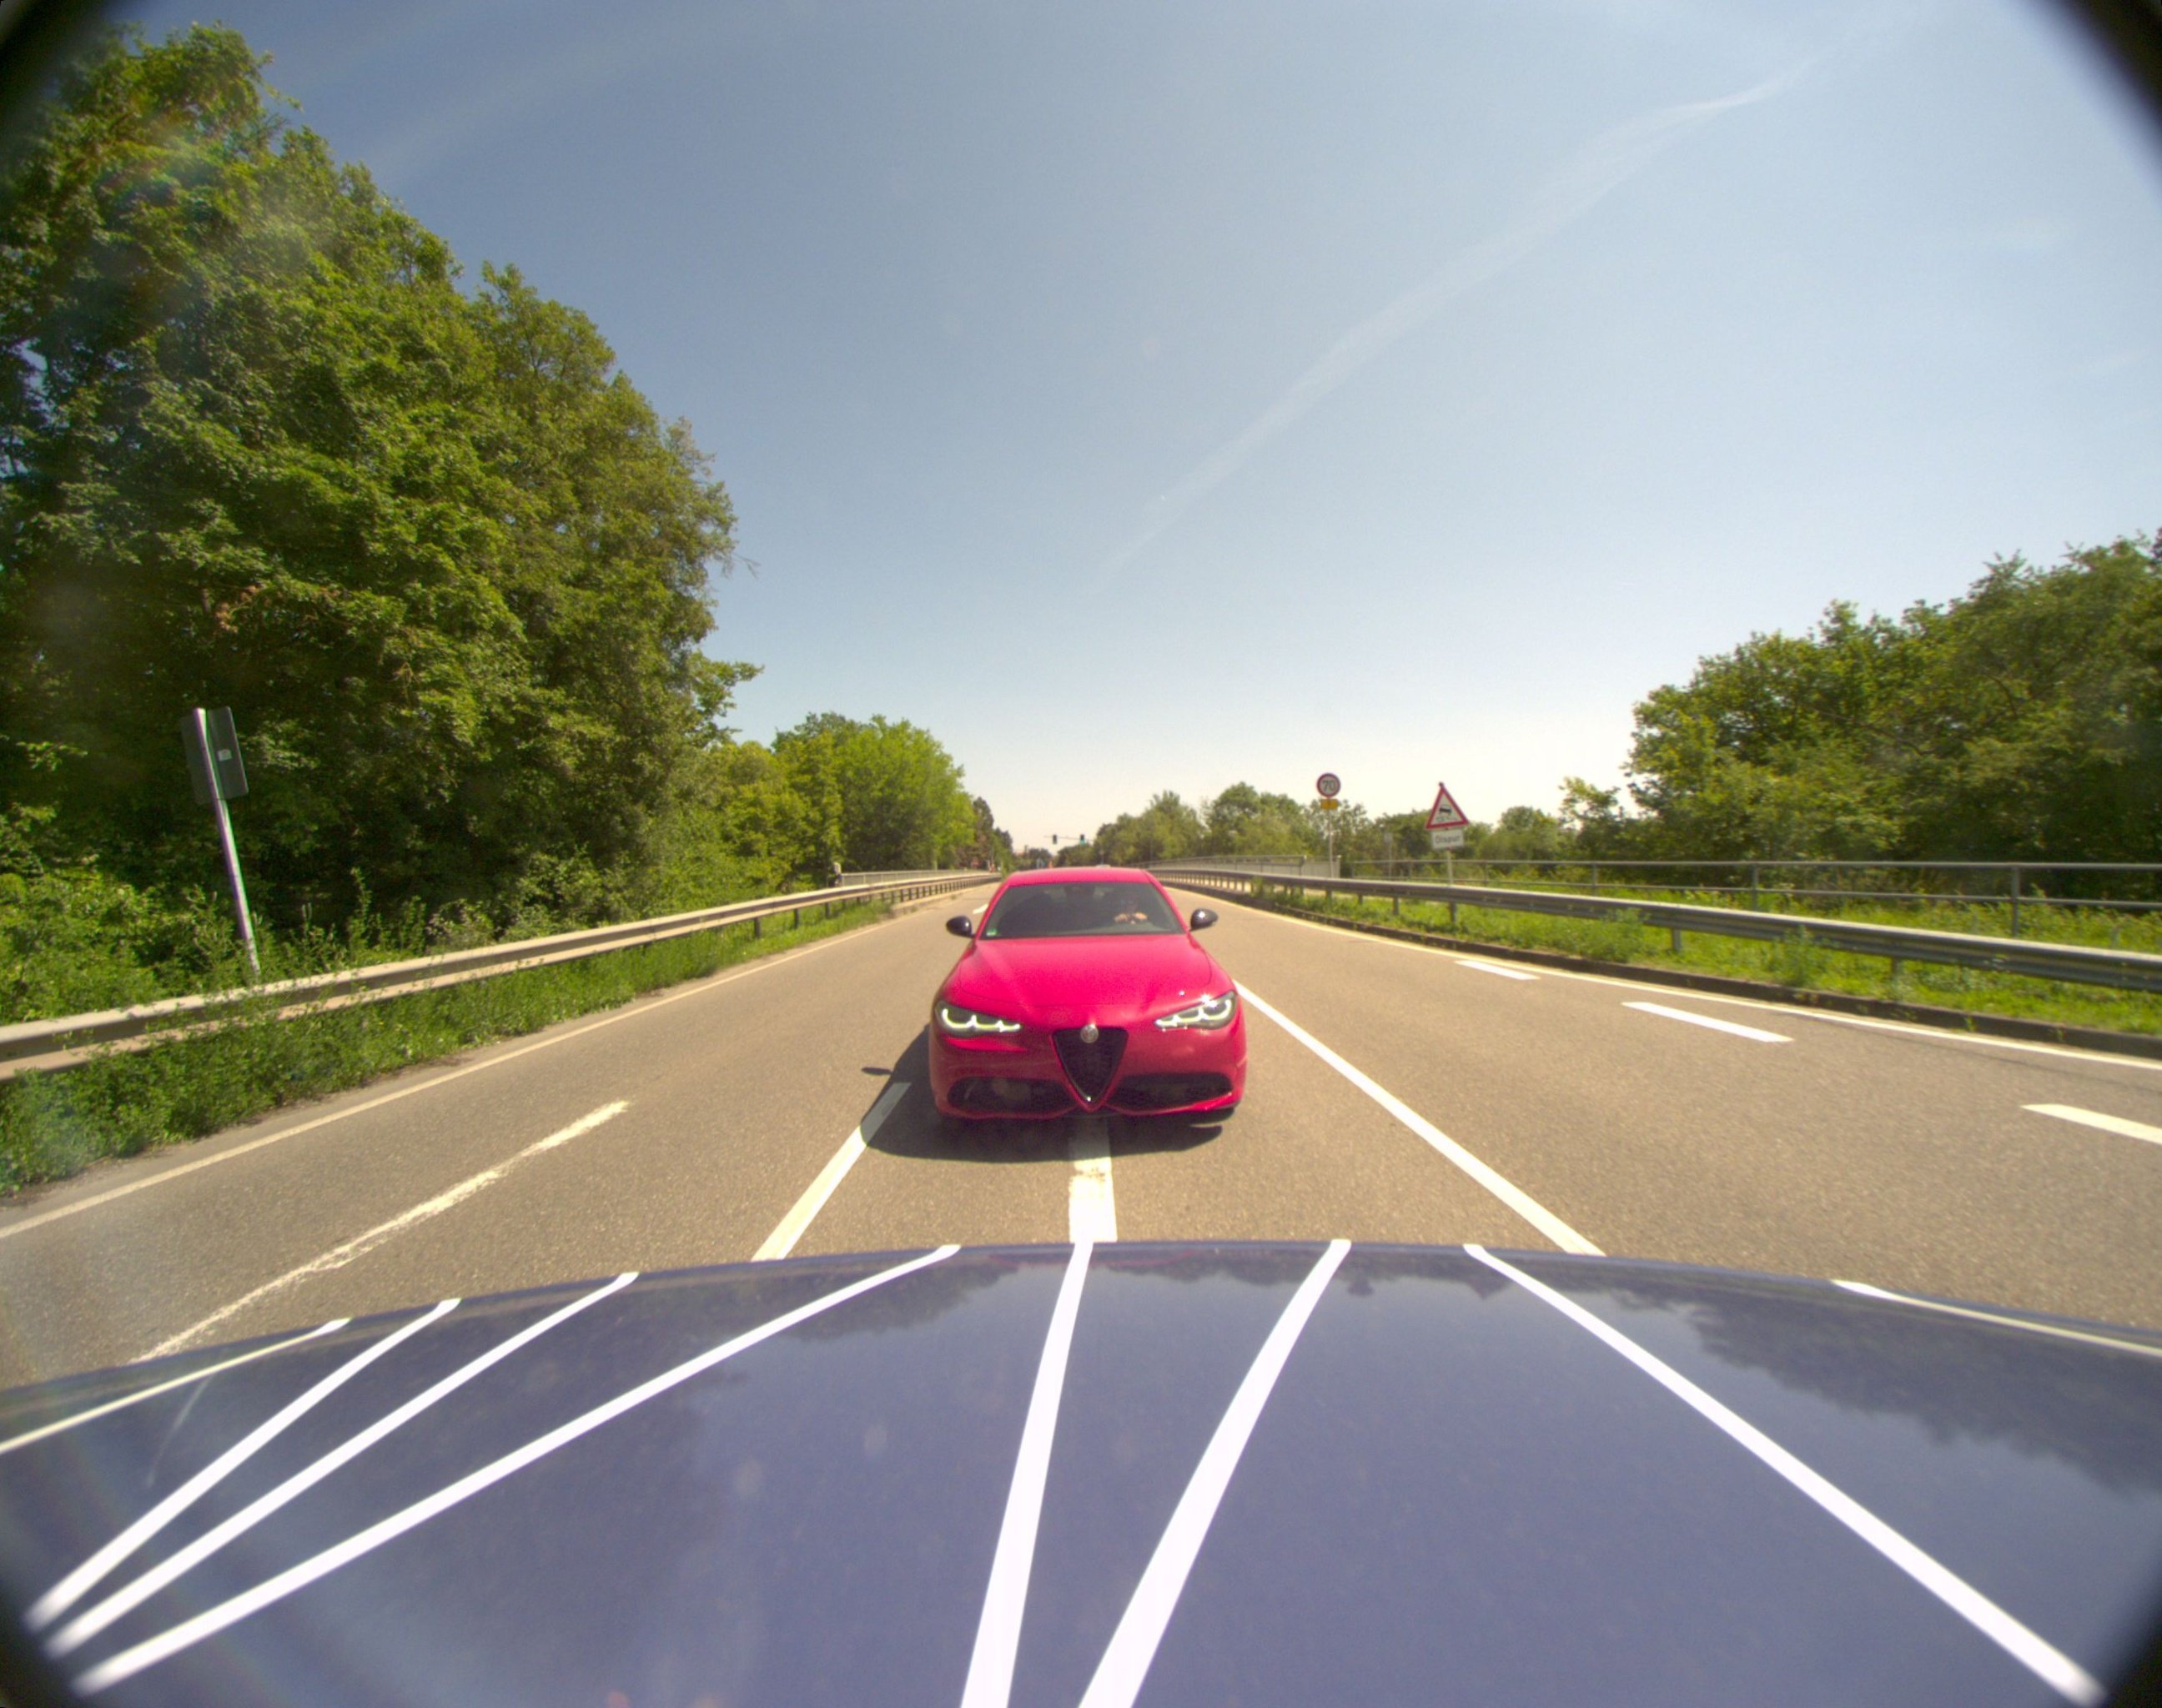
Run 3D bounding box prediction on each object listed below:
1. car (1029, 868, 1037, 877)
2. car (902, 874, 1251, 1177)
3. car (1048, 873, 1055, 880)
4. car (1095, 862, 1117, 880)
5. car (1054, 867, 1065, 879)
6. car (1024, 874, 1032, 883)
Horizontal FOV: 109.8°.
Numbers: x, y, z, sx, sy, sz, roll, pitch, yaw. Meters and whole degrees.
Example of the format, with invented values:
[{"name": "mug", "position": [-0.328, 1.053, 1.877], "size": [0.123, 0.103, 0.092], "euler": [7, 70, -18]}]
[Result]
[{"name": "car", "position": [-9.039, 3.400, 142.068], "size": [1.476, 1.565, 3.487], "euler": [-1, 0, -4]}, {"name": "car", "position": [-0.065, 0.953, 6.124], "size": [1.801, 1.448, 4.284], "euler": [-1, 0, -1]}, {"name": "car", "position": [-7.574, 5.845, 196.474], "size": [1.848, 1.758, 3.999], "euler": [-1, 0, -1]}, {"name": "car", "position": [2.100, 1.396, 65.012], "size": [1.649, 1.410, 3.765], "euler": [-2, 0, -1]}, {"name": "car", "position": [-4.516, 3.817, 156.479], "size": [1.996, 2.354, 5.180], "euler": [-2, 0, -3]}, {"name": "car", "position": [-9.232, 4.221, 132.755], "size": [1.416, 1.499, 3.315], "euler": [-1, 0, -3]}]
